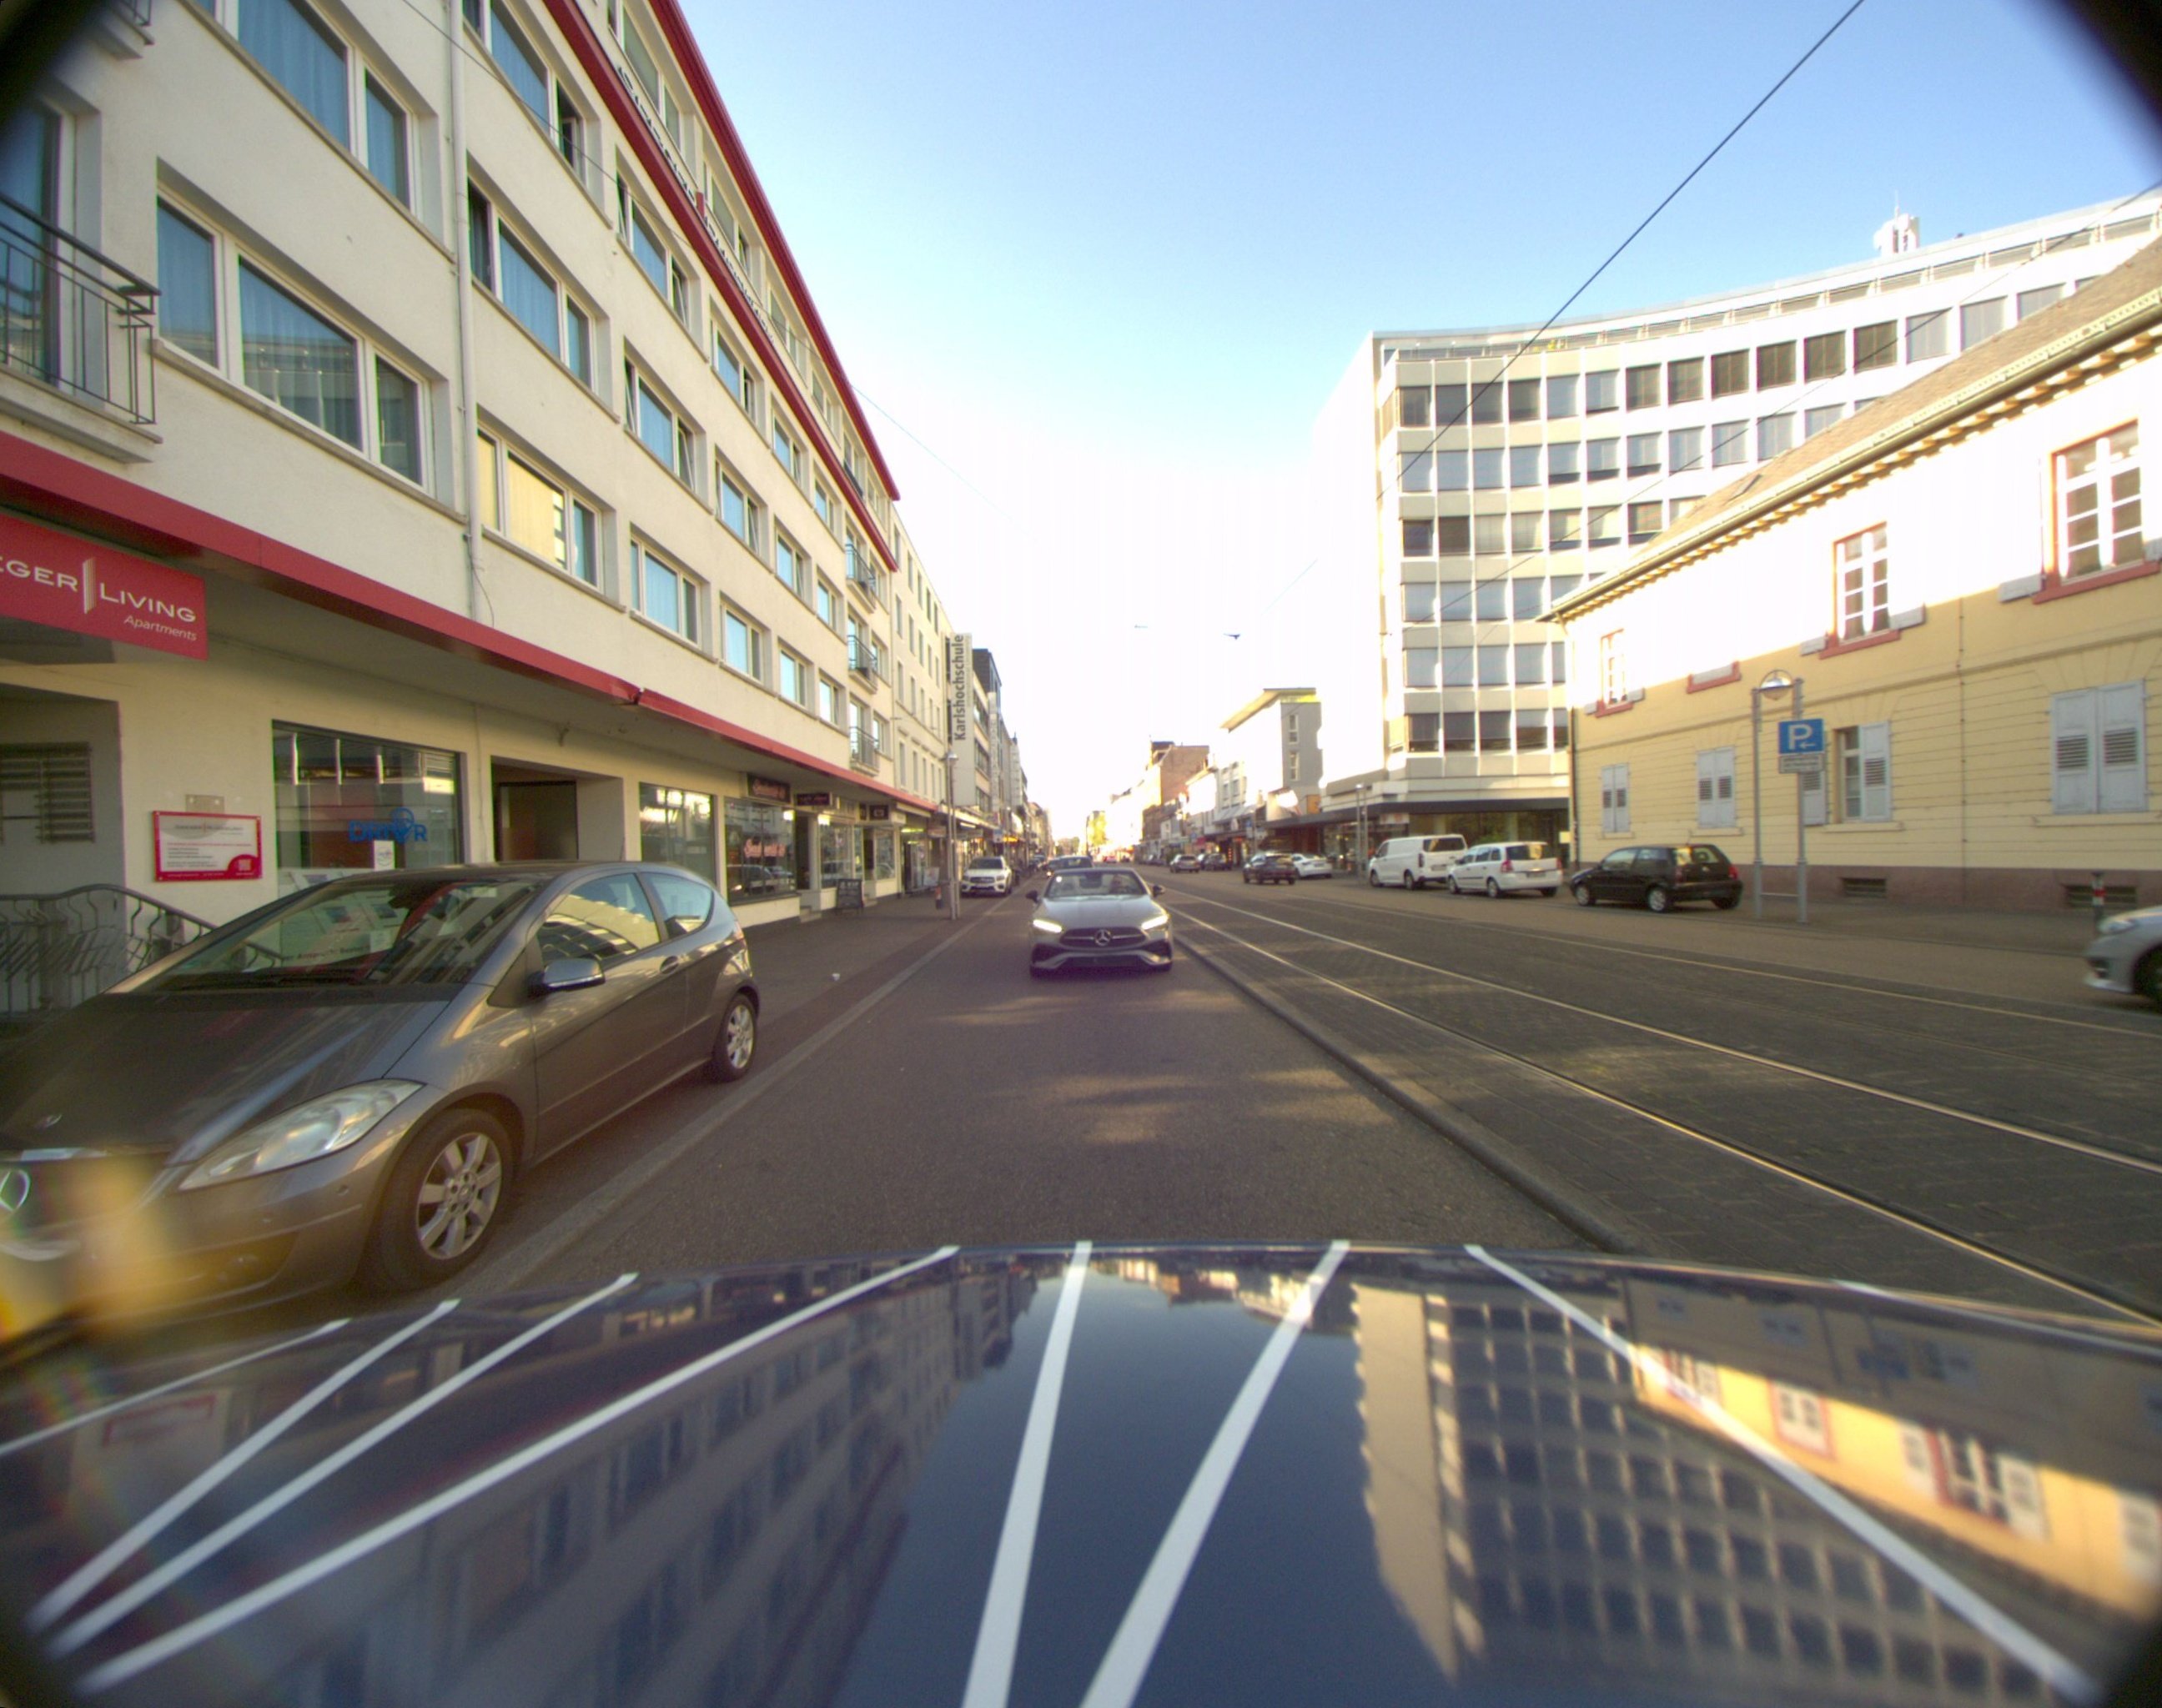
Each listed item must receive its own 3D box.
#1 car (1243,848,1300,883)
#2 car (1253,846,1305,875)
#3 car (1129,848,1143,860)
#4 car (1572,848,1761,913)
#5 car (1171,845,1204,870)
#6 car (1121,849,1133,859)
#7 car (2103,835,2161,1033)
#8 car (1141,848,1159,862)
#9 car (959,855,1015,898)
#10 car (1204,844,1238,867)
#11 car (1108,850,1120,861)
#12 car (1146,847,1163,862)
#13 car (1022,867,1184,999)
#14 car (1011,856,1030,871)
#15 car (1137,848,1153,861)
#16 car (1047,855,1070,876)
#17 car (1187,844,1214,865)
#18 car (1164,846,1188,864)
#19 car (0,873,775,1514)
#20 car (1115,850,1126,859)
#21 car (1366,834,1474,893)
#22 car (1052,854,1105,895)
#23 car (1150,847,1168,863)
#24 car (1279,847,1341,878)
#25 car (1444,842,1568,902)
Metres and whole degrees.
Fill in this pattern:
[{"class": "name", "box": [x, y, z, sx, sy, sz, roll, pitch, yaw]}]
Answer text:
[{"class": "car", "box": [9.187, 0.530, 36.952, 1.964, 1.499, 4.000, -2, 1, 4]}, {"class": "car", "box": [12.337, 0.371, 47.639, 1.999, 1.694, 4.107, -3, 1, -2]}, {"class": "car", "box": [9.922, -0.046, 137.123, 1.999, 2.002, 3.999, -1, 0, -2]}, {"class": "car", "box": [12.926, 0.515, 17.026, 1.688, 1.246, 3.212, -2, 1, -1]}, {"class": "car", "box": [8.479, 0.225, 61.040, 1.914, 1.883, 3.855, -2, 1, -2]}, {"class": "car", "box": [9.577, 0.057, 157.256, 1.999, 2.002, 3.999, -1, 0, -2]}, {"class": "car", "box": [9.631, 0.620, 4.474, 1.761, 1.587, 3.998, -1, 0, -4]}, {"class": "car", "box": [9.955, 0.135, 109.286, 1.999, 2.002, 3.998, -2, 1, -2]}, {"class": "car", "box": [-3.841, 0.899, 31.676, 1.999, 1.620, 3.998, -1, 0, -4]}, {"class": "car", "box": [12.031, 0.089, 65.692, 1.999, 1.849, 3.998, -2, 1, -2]}, {"class": "car", "box": [6.552, 0.226, 150.777, 1.999, 2.002, 3.998, -2, 1, -2]}, {"class": "car", "box": [10.990, 0.061, 114.309, 1.999, 2.002, 3.998, -2, 1, -2]}, {"class": "car", "box": [0.120, 0.964, 11.007, 1.884, 1.375, 3.998, -2, 1, -4]}, {"class": "car", "box": [-6.270, 0.963, 79.505, 1.714, 1.430, 3.756, -2, 1, -1]}, {"class": "car", "box": [10.486, 0.098, 124.383, 1.999, 2.002, 5.320, -1, 0, -2]}, {"class": "car", "box": [-1.690, 0.866, 57.994, 1.648, 1.506, 3.844, -2, 0, -2]}, {"class": "car", "box": [11.596, 0.042, 74.091, 1.789, 1.870, 3.999, -1, 0, -2]}, {"class": "car", "box": [11.283, 0.124, 90.542, 2.200, 2.030, 3.999, -1, 0, -1]}, {"class": "car", "box": [-3.218, 0.940, 3.923, 1.683, 1.537, 3.999, -2, 0, -1]}, {"class": "car", "box": [9.135, 0.067, 176.694, 2.148, 1.850, 3.998, -2, 1, -2]}, {"class": "car", "box": [12.689, 0.334, 28.771, 2.040, 2.002, 4.621, -1, 0, 1]}, {"class": "car", "box": [-0.191, 0.816, 32.305, 1.927, 1.533, 3.998, -2, 0, -4]}, {"class": "car", "box": [10.380, 0.144, 100.820, 1.998, 2.002, 4.000, -1, 0, 1]}, {"class": "car", "box": [12.647, 0.428, 42.210, 1.999, 1.521, 4.373, -2, 1, -1]}, {"class": "car", "box": [12.774, 0.476, 23.120, 1.641, 1.600, 4.005, -2, 1, 3]}]
